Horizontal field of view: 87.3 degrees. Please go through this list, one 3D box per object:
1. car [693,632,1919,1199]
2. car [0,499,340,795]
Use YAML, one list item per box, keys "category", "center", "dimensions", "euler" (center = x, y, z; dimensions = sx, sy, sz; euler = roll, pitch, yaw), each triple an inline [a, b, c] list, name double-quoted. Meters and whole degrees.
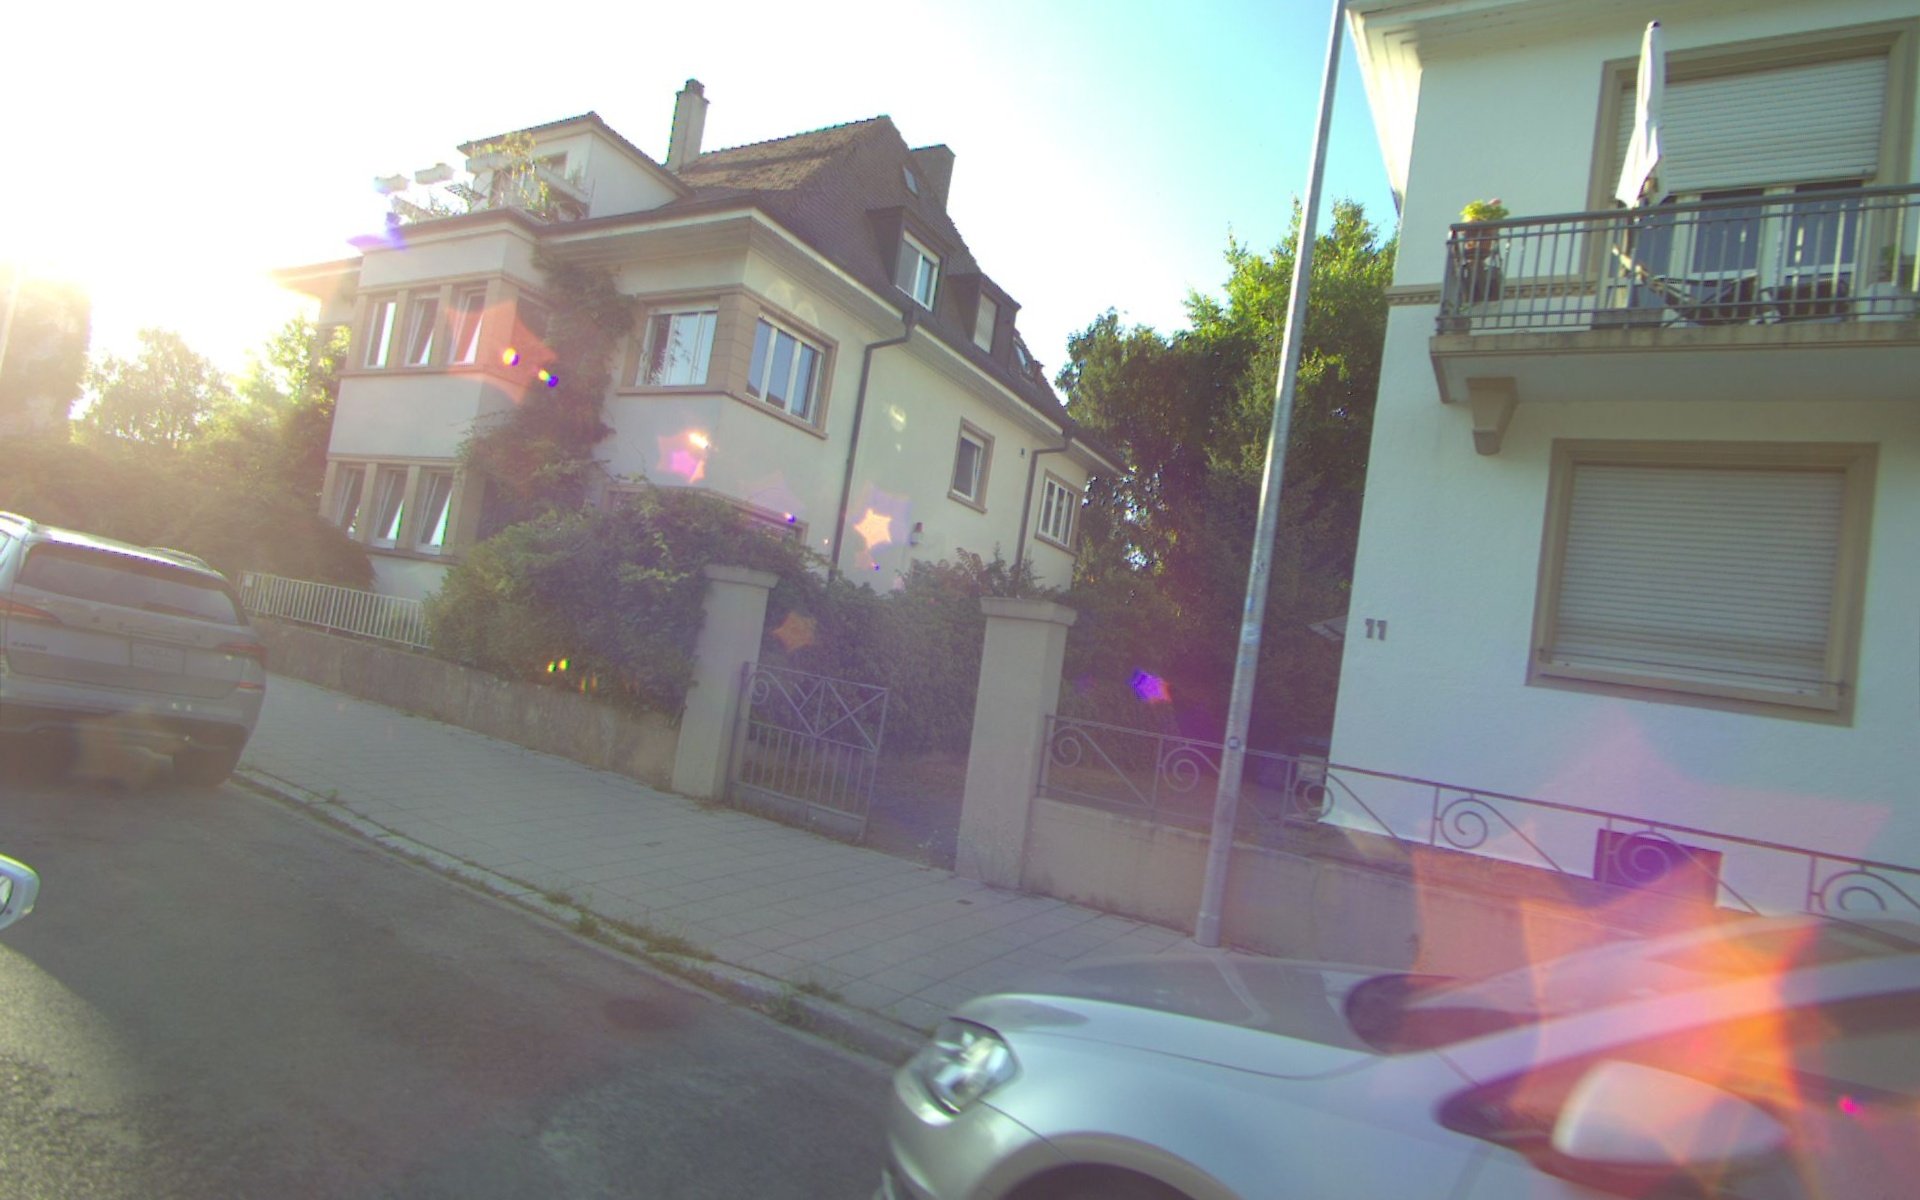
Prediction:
- category: "car"
  center: [1.860, 1.311, 1.871]
  dimensions: [4.491, 1.572, 1.921]
  euler: [8, -7, 32]
- category: "car"
  center: [-6.738, 0.206, 7.342]
  dimensions: [4.390, 1.550, 1.891]
  euler: [6, -8, 34]
